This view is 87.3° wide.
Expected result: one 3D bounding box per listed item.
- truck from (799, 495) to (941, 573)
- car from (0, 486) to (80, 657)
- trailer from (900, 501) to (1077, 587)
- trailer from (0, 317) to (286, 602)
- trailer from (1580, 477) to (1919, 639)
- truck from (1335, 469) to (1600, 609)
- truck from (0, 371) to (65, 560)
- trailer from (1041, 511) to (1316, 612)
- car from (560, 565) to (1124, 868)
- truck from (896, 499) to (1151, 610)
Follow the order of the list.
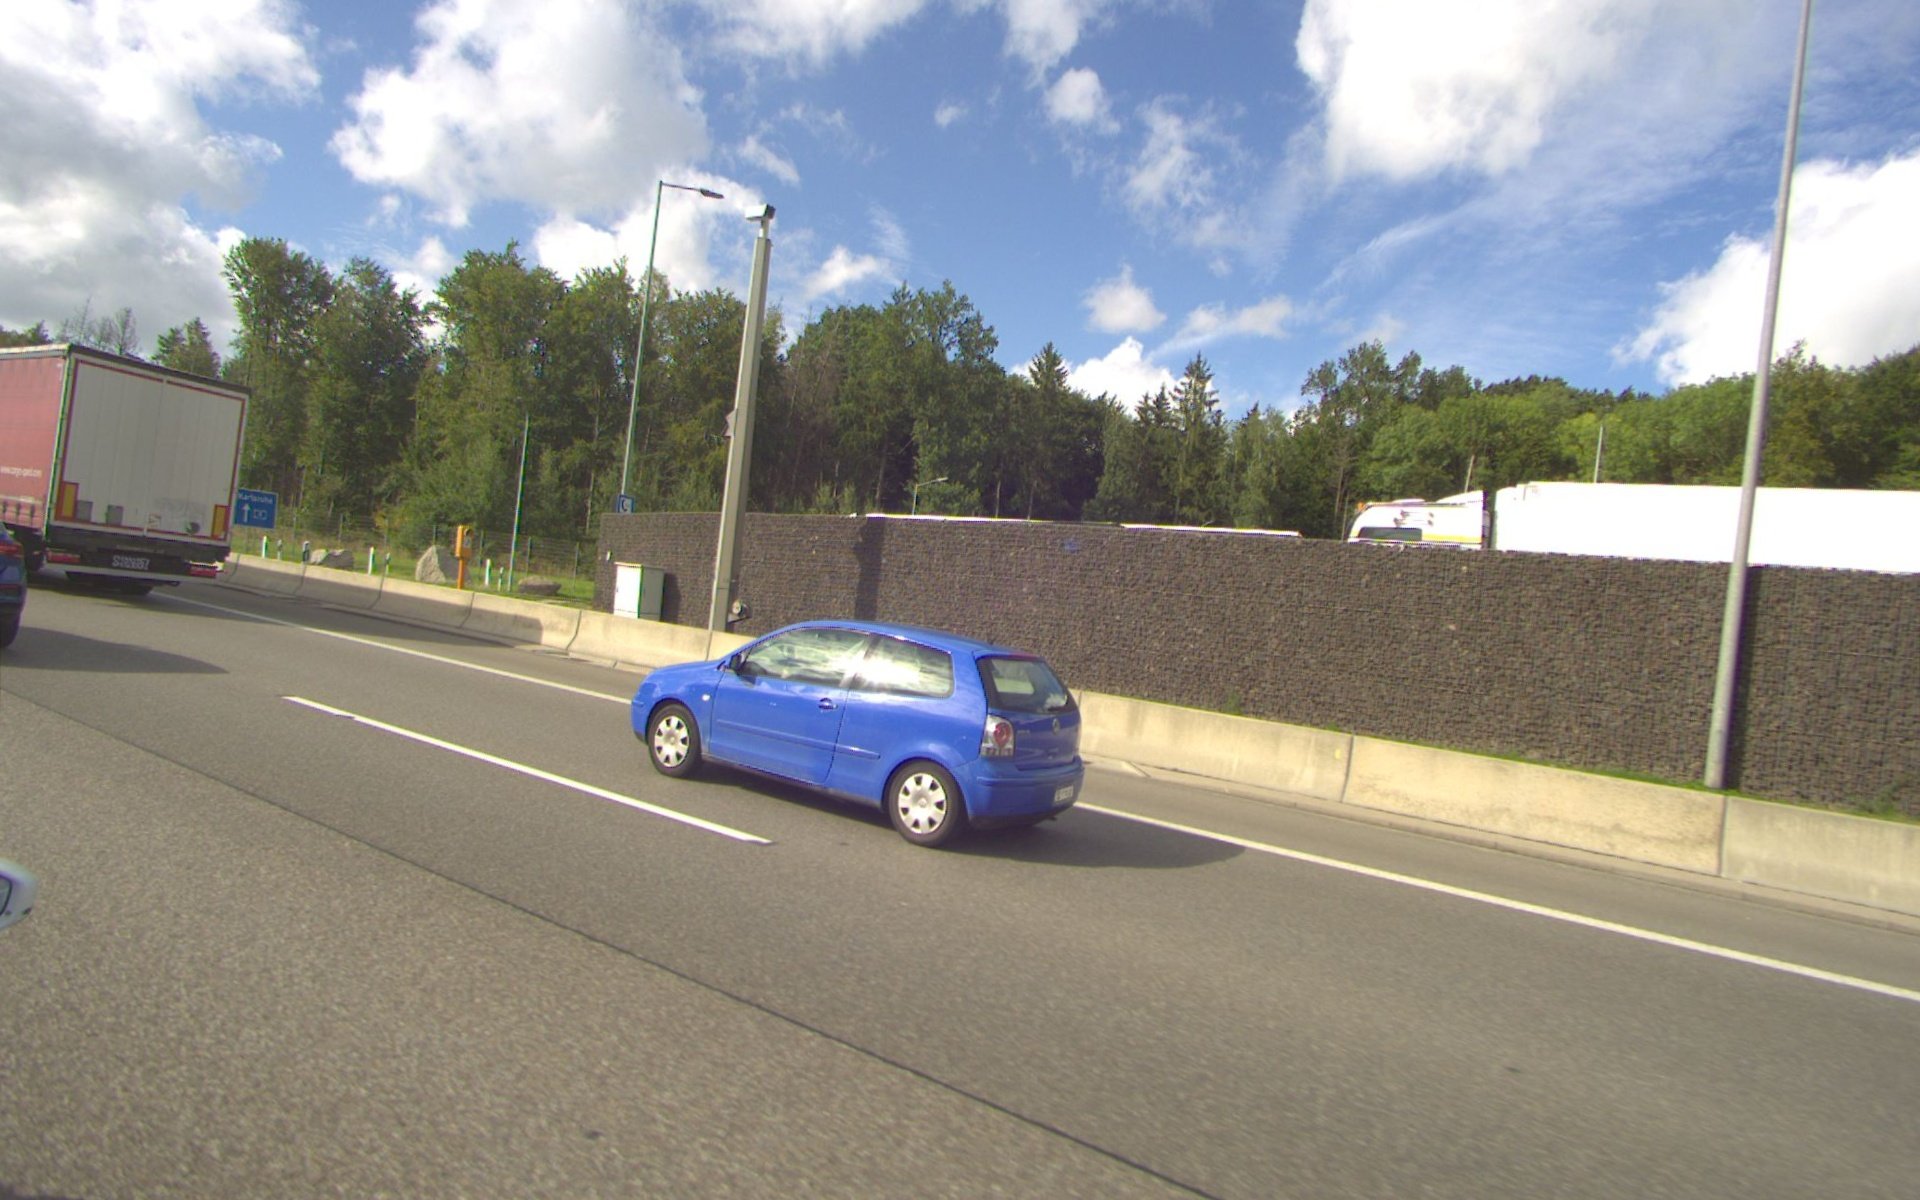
[{"bbox_3d":[-2.977,-2.185,33.317,3.930,2.038,2.220,7,0,27],"label":"truck"},{"bbox_3d":[-11.032,-0.552,10.065,4.567,1.560,1.927,7,0,31],"label":"car"},{"bbox_3d":[0.872,-1.750,31.327,4.887,2.038,2.206,7,0,27],"label":"trailer"},{"bbox_3d":[-18.803,-2.599,20.189,13.662,4.081,3.044,5,-2,32],"label":"trailer"},{"bbox_3d":[13.468,-0.620,15.783,6.131,2.038,2.133,7,0,32],"label":"trailer"},{"bbox_3d":[9.241,-1.131,18.419,3.934,2.038,2.149,7,0,32],"label":"truck"},{"bbox_3d":[-24.489,-3.335,23.753,5.970,4.110,3.086,5,-2,32],"label":"truck"},{"bbox_3d":[6.105,-1.119,28.550,7.159,2.038,2.135,7,0,28],"label":"trailer"},{"bbox_3d":[-1.057,0.777,8.130,4.230,1.528,1.718,7,-1,32],"label":"car"},{"bbox_3d":[1.370,-1.061,22.774,5.321,2.037,1.996,4,-3,33],"label":"truck"}]
